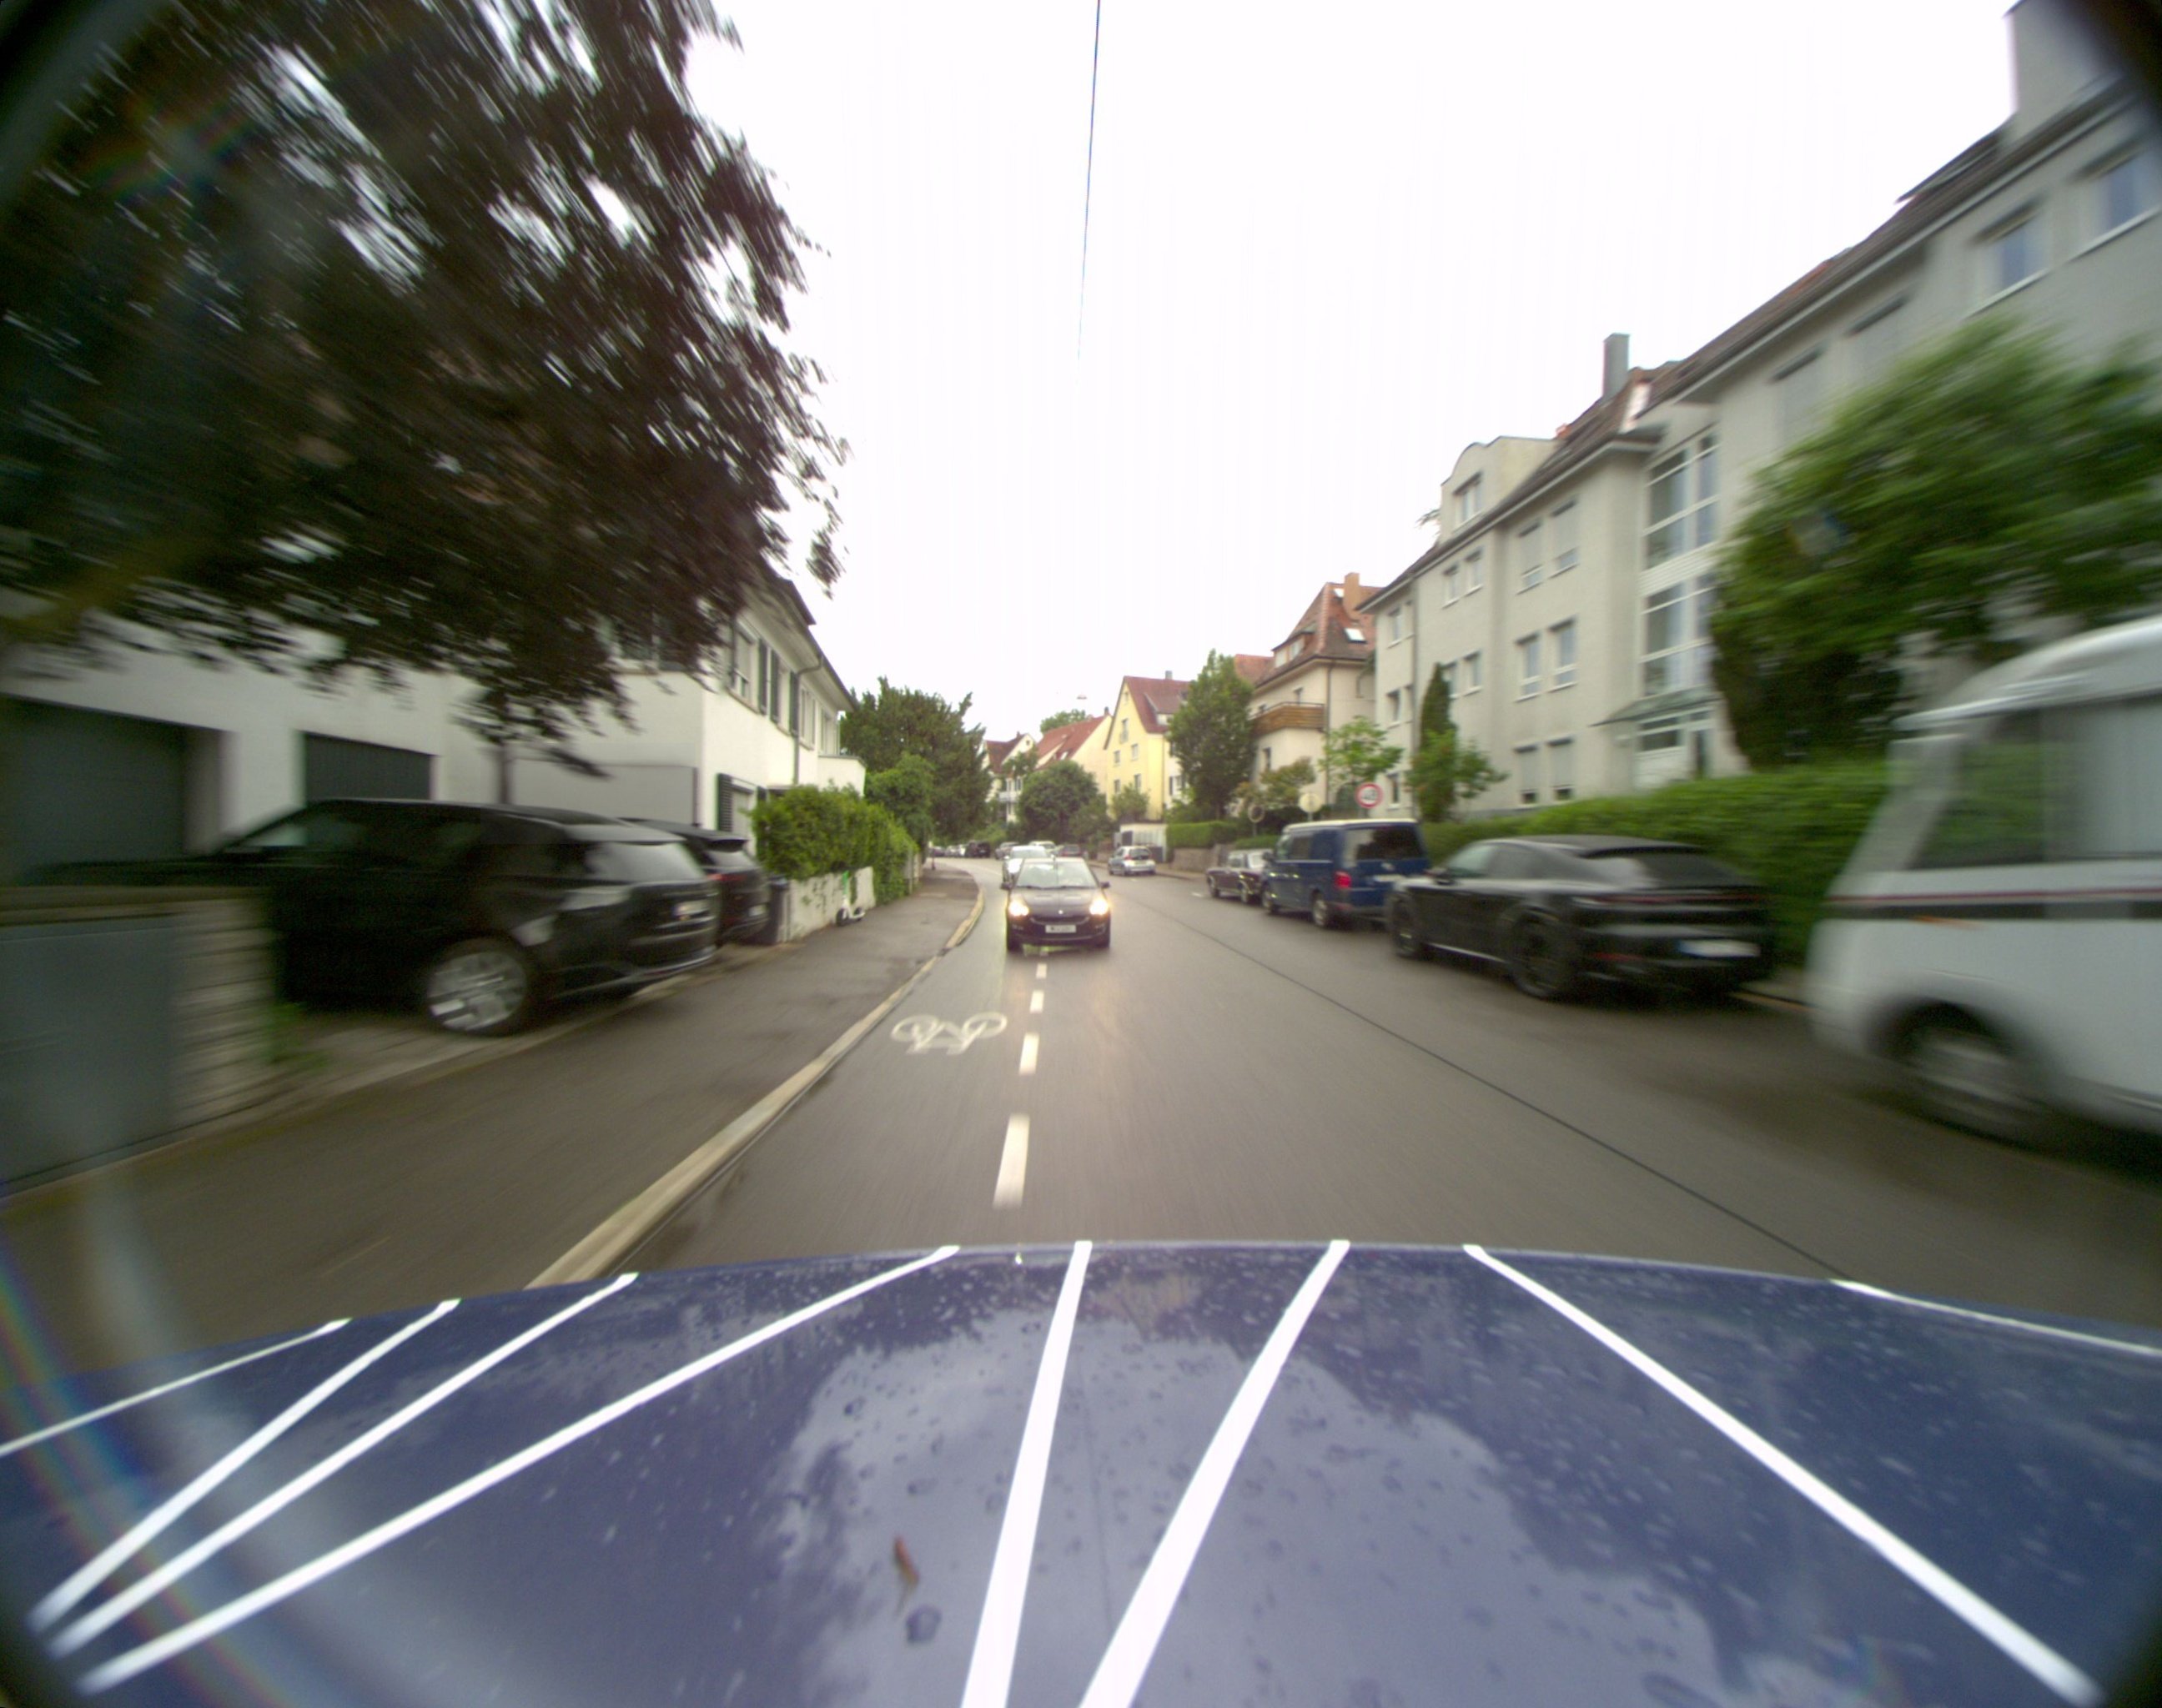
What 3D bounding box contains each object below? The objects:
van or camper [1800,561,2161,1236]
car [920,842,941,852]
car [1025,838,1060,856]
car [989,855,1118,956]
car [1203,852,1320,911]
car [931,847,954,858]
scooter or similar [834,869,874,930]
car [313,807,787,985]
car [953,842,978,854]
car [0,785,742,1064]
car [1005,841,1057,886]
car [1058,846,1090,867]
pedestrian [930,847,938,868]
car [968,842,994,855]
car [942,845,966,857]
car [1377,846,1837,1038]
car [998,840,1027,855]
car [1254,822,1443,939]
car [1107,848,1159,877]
[{"bbox_3d":[5.576,0.195,1.489,2.354,2.709,6.115,0,0,-2],"label":"van or camper"},{"bbox_3d":[-21.026,-0.923,105.908,1.683,1.364,4.427,-1,0,-28],"label":"car"},{"bbox_3d":[-3.123,-0.556,61.470,1.682,1.364,4.430,2,-1,-18],"label":"car"},{"bbox_3d":[-0.463,0.767,13.177,1.899,1.455,3.680,-1,0,-2],"label":"car"},{"bbox_3d":[4.864,0.667,21.144,1.680,1.364,4.507,-1,1,-7],"label":"car"},{"bbox_3d":[-18.455,-0.211,100.927,1.683,1.364,4.427,-1,0,-28],"label":"car"},{"bbox_3d":[-4.508,0.879,15.138,0.447,1.124,1.274,0,1,-2],"label":"scooter or similar"},{"bbox_3d":[-6.365,0.500,9.628,4.465,1.799,1.941,3,0,-5],"label":"car"},{"bbox_3d":[-13.604,-0.734,89.102,1.683,1.364,4.428,-1,0,-25],"label":"car"},{"bbox_3d":[-5.767,0.525,6.533,4.743,1.799,1.942,3,0,-2],"label":"car"},{"bbox_3d":[-2.098,0.343,30.955,1.797,1.689,3.888,-1,0,-8],"label":"car"},{"bbox_3d":[-0.531,0.159,52.302,1.681,1.364,3.437,-1,0,-10],"label":"car"},{"bbox_3d":[-8.639,0.226,44.686,0.427,1.239,0.315,0,1,-12],"label":"pedestrian"},{"bbox_3d":[-10.924,-0.631,82.541,1.683,1.364,3.877,-1,0,-25],"label":"car"},{"bbox_3d":[-15.768,-0.375,94.220,1.683,1.364,4.427,-1,0,-27],"label":"car"},{"bbox_3d":[5.285,0.721,8.662,1.837,1.585,4.745,0,0,-2],"label":"car"},{"bbox_3d":[-6.449,-0.601,71.140,1.682,1.364,4.430,-1,0,-18],"label":"car"},{"bbox_3d":[5.132,0.438,15.340,1.837,1.976,4.578,-1,1,-5],"label":"car"},{"bbox_3d":[2.594,0.398,38.694,1.681,1.364,3.436,-1,0,-14],"label":"car"}]
